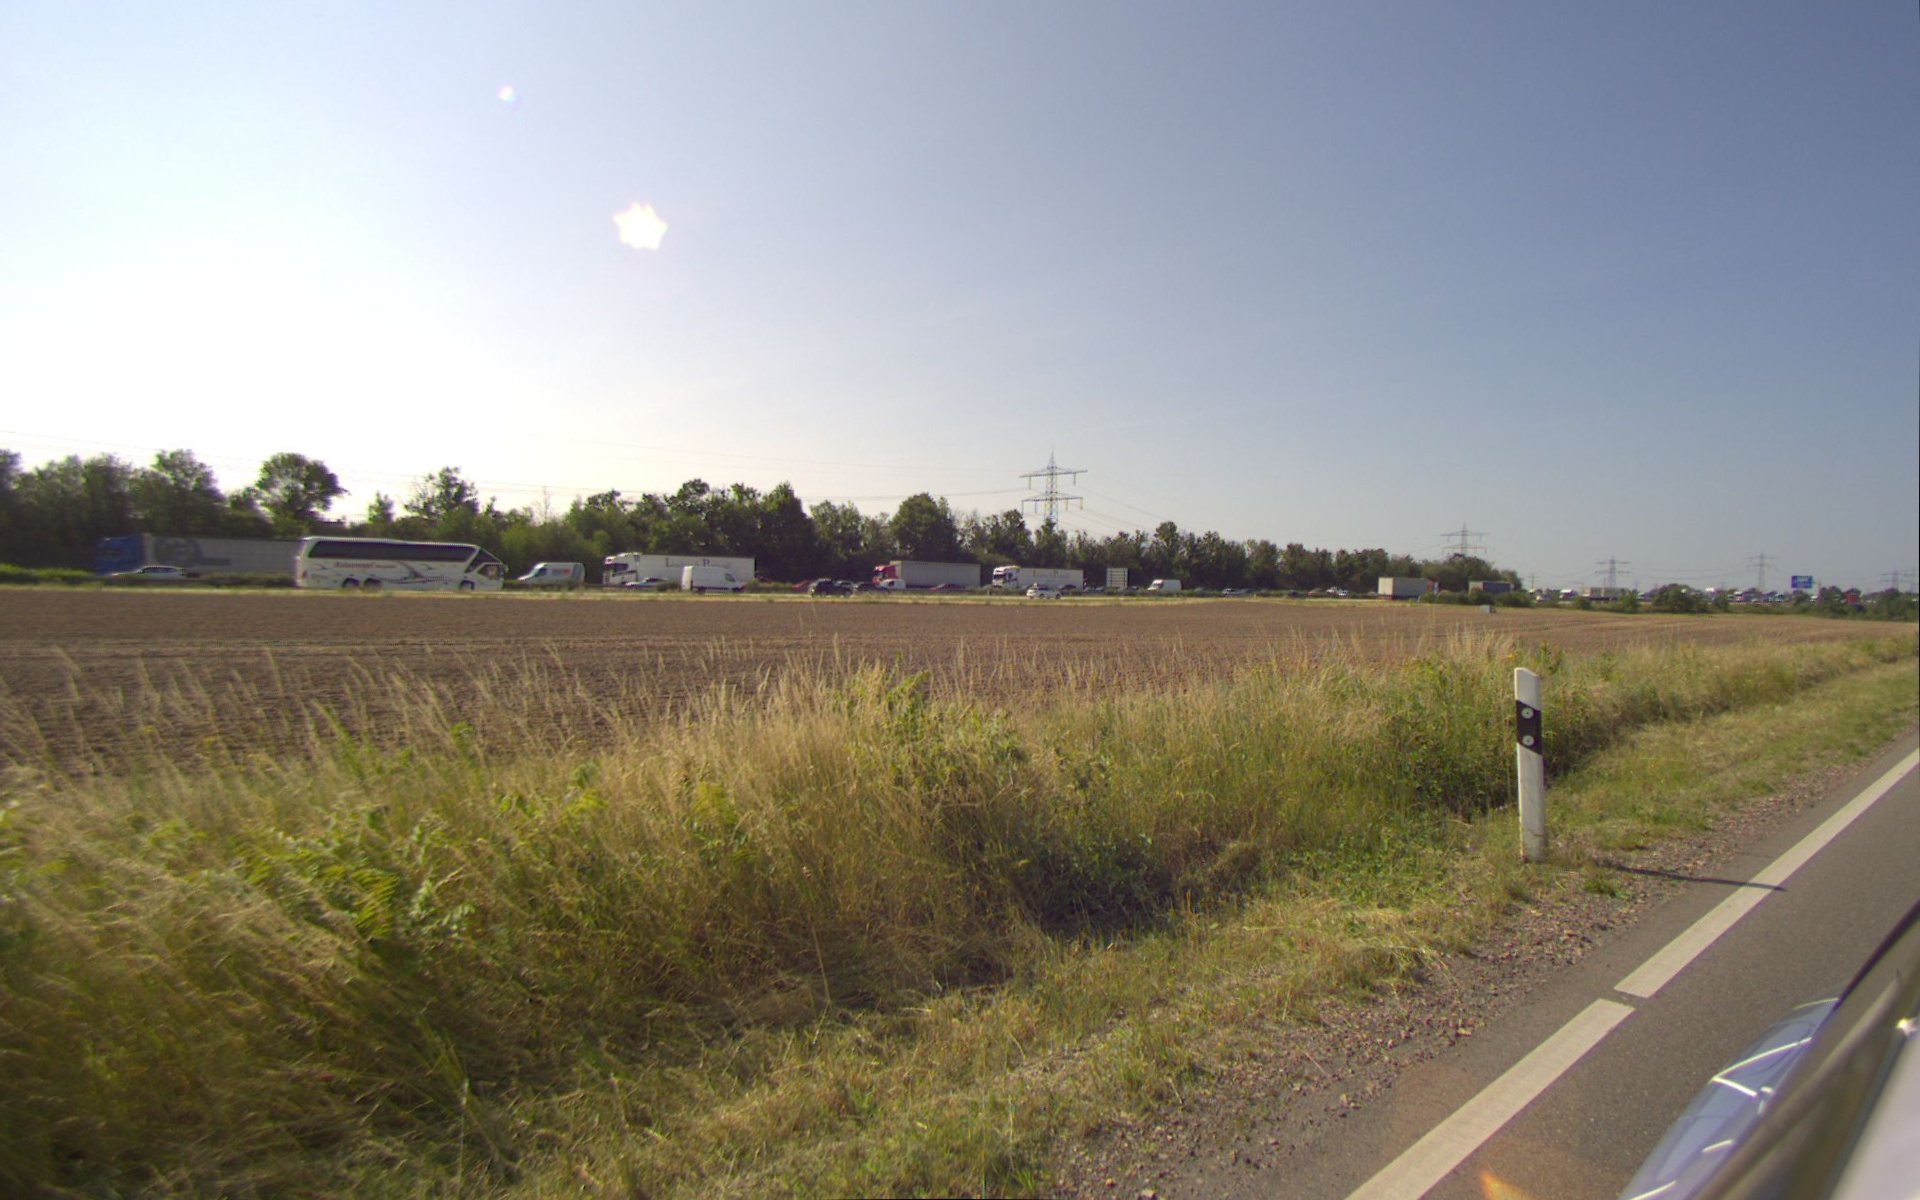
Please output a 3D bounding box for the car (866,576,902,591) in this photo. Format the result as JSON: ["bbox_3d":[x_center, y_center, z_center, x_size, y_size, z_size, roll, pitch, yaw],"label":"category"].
[{"bbox_3d":[-8.887,-1.948,118.227,4.023,1.659,1.705,0,-1,-42],"label":"car"}]

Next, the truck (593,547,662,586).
[{"bbox_3d":[-34.242,-3.419,104.279,6.008,3.780,3.078,0,0,-40],"label":"truck"}]

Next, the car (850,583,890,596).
[{"bbox_3d":[-9.495,-1.090,107.182,4.021,1.391,1.706,0,0,-40],"label":"car"}]

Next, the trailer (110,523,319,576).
[{"bbox_3d":[-59.948,-3.955,81.879,13.386,3.780,3.078,0,1,-40],"label":"trailer"}]

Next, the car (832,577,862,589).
[{"bbox_3d":[-12.813,-1.974,114.962,3.236,1.300,1.342,0,-1,-43],"label":"car"}]

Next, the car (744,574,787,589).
[{"bbox_3d":[-20.715,-1.960,108.052,4.173,1.403,1.853,1,-1,-41],"label":"car"}]

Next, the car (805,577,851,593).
[{"bbox_3d":[-12.841,-1.434,98.457,4.135,1.492,1.706,0,0,-40],"label":"car"}]

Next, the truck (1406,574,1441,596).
[{"bbox_3d":[83.338,-2.654,181.777,6.828,3.897,3.109,0,0,-40],"label":"truck"}]

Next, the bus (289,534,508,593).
[{"bbox_3d":[-42.053,-2.616,76.566,14.301,3.851,2.465,1,0,-43],"label":"bus"}]

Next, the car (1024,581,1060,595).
[{"bbox_3d":[9.608,-1.343,118.432,4.123,1.563,1.705,0,-1,-41],"label":"car"}]

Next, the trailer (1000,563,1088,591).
[{"bbox_3d":[12.206,-3.242,144.830,14.821,3.575,3.208,0,2,-42],"label":"trailer"}]

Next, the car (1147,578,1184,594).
[{"bbox_3d":[31.474,-2.112,154.856,6.300,2.478,2.041,0,0,-40],"label":"car"}]

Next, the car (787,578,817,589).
[{"bbox_3d":[-18.464,-1.883,118.459,3.235,1.234,1.342,0,-1,-42],"label":"car"}]

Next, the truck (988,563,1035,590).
[{"bbox_3d":[7.182,-3.265,140.392,6.003,3.575,3.208,0,2,-41],"label":"truck"}]

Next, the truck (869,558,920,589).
[{"bbox_3d":[-8.199,-3.306,127.222,5.767,3.780,2.951,0,0,-41],"label":"truck"}]

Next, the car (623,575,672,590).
[{"bbox_3d":[-30.862,-1.719,99.988,4.173,1.403,1.853,1,-1,-41],"label":"car"}]

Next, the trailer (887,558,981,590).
[{"bbox_3d":[-3.237,-3.283,131.534,13.541,3.780,2.950,0,1,-41],"label":"trailer"}]

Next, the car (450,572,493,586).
[{"bbox_3d":[-42.605,-1.804,88.310,3.126,1.166,1.397,1,-1,-41],"label":"car"}]

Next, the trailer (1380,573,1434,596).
[{"bbox_3d":[78.692,-2.678,177.801,13.476,3.897,3.109,0,0,-40],"label":"trailer"}]

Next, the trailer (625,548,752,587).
[{"bbox_3d":[-28.937,-3.405,108.720,13.128,3.780,3.078,0,1,-40],"label":"trailer"}]

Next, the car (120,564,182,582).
[{"bbox_3d":[-58.834,-1.950,73.625,3.518,1.166,1.397,1,-1,-40],"label":"car"}]

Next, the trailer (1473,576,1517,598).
[{"bbox_3d":[105.962,-2.541,200.219,14.341,3.851,3.076,2,-1,-43],"label":"trailer"}]

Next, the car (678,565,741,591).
[{"bbox_3d":[-23.560,-2.032,95.209,5.425,2.402,1.997,0,-1,-41],"label":"car"}]

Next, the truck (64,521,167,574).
[{"bbox_3d":[-64.804,-3.966,77.824,5.978,3.780,3.078,0,0,-40],"label":"truck"}]

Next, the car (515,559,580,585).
[{"bbox_3d":[-37.775,-2.538,92.758,5.146,2.228,1.908,1,-1,-41],"label":"car"}]
